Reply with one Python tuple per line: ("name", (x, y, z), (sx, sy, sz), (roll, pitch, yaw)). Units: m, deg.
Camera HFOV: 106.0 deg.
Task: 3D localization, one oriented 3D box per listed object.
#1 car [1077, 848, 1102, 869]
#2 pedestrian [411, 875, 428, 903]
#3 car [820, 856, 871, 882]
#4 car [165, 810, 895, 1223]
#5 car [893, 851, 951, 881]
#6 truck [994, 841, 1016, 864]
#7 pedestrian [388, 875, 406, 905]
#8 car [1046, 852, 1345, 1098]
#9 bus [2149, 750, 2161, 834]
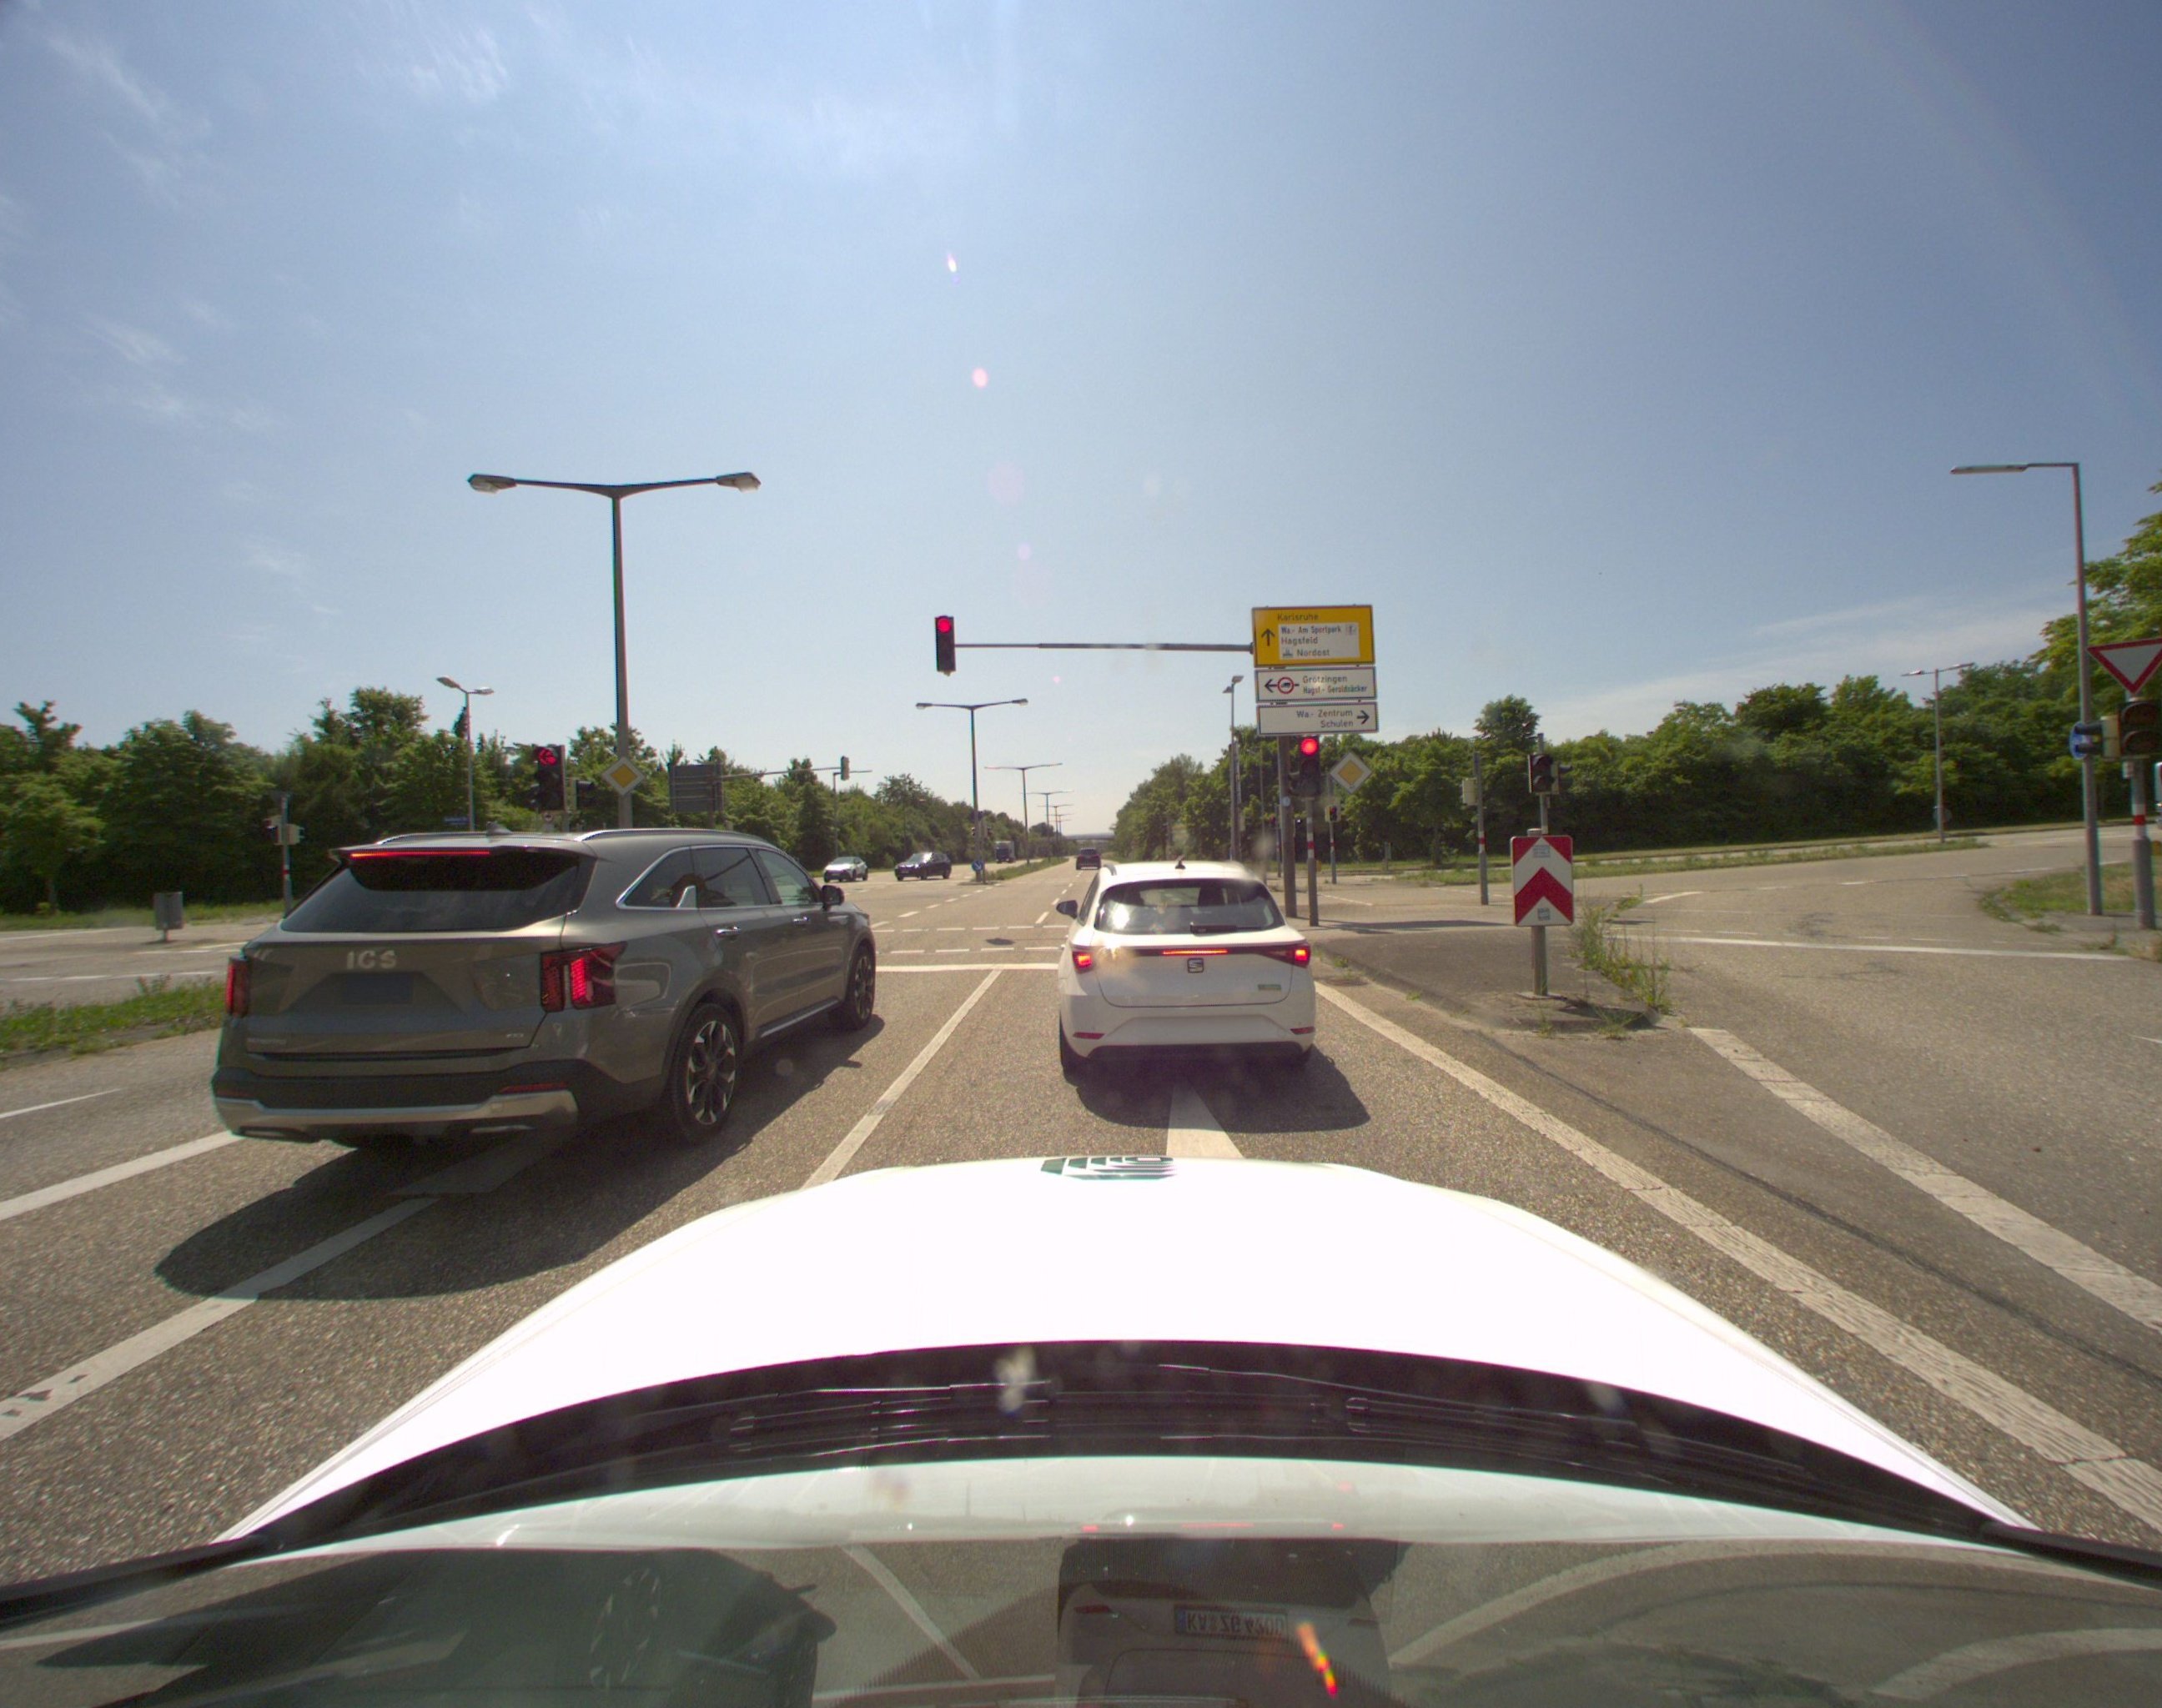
("car", (0.750, 0.355, 68.951), (1.847, 1.709, 4.004), (-2, 0, 4))
("pedestrian", (-36.648, 1.944, 45.147), (0.620, 1.503, 0.790), (-2, 0, -34))
("car", (-14.692, 0.917, 50.964), (1.815, 1.455, 4.171), (-2, 0, 2))
("car", (-2.833, 0.679, 5.710), (1.797, 1.662, 4.646), (-2, 0, 2))
("car", (-9.816, 0.705, 50.614), (1.693, 1.663, 4.242), (-2, 0, 17))
("truck", (-12.449, -0.294, 133.888), (2.677, 3.570, 7.269), (-2, 0, 1))
("pedestrian", (-37.505, 1.975, 44.668), (0.620, 1.603, 0.790), (-2, 0, -34))
("car", (0.725, 0.723, 6.607), (1.728, 1.428, 3.696), (0, -1, 2))
("bus", (45.931, -2.532, 30.393), (12.054, 3.086, 2.620), (-2, 0, -13))
